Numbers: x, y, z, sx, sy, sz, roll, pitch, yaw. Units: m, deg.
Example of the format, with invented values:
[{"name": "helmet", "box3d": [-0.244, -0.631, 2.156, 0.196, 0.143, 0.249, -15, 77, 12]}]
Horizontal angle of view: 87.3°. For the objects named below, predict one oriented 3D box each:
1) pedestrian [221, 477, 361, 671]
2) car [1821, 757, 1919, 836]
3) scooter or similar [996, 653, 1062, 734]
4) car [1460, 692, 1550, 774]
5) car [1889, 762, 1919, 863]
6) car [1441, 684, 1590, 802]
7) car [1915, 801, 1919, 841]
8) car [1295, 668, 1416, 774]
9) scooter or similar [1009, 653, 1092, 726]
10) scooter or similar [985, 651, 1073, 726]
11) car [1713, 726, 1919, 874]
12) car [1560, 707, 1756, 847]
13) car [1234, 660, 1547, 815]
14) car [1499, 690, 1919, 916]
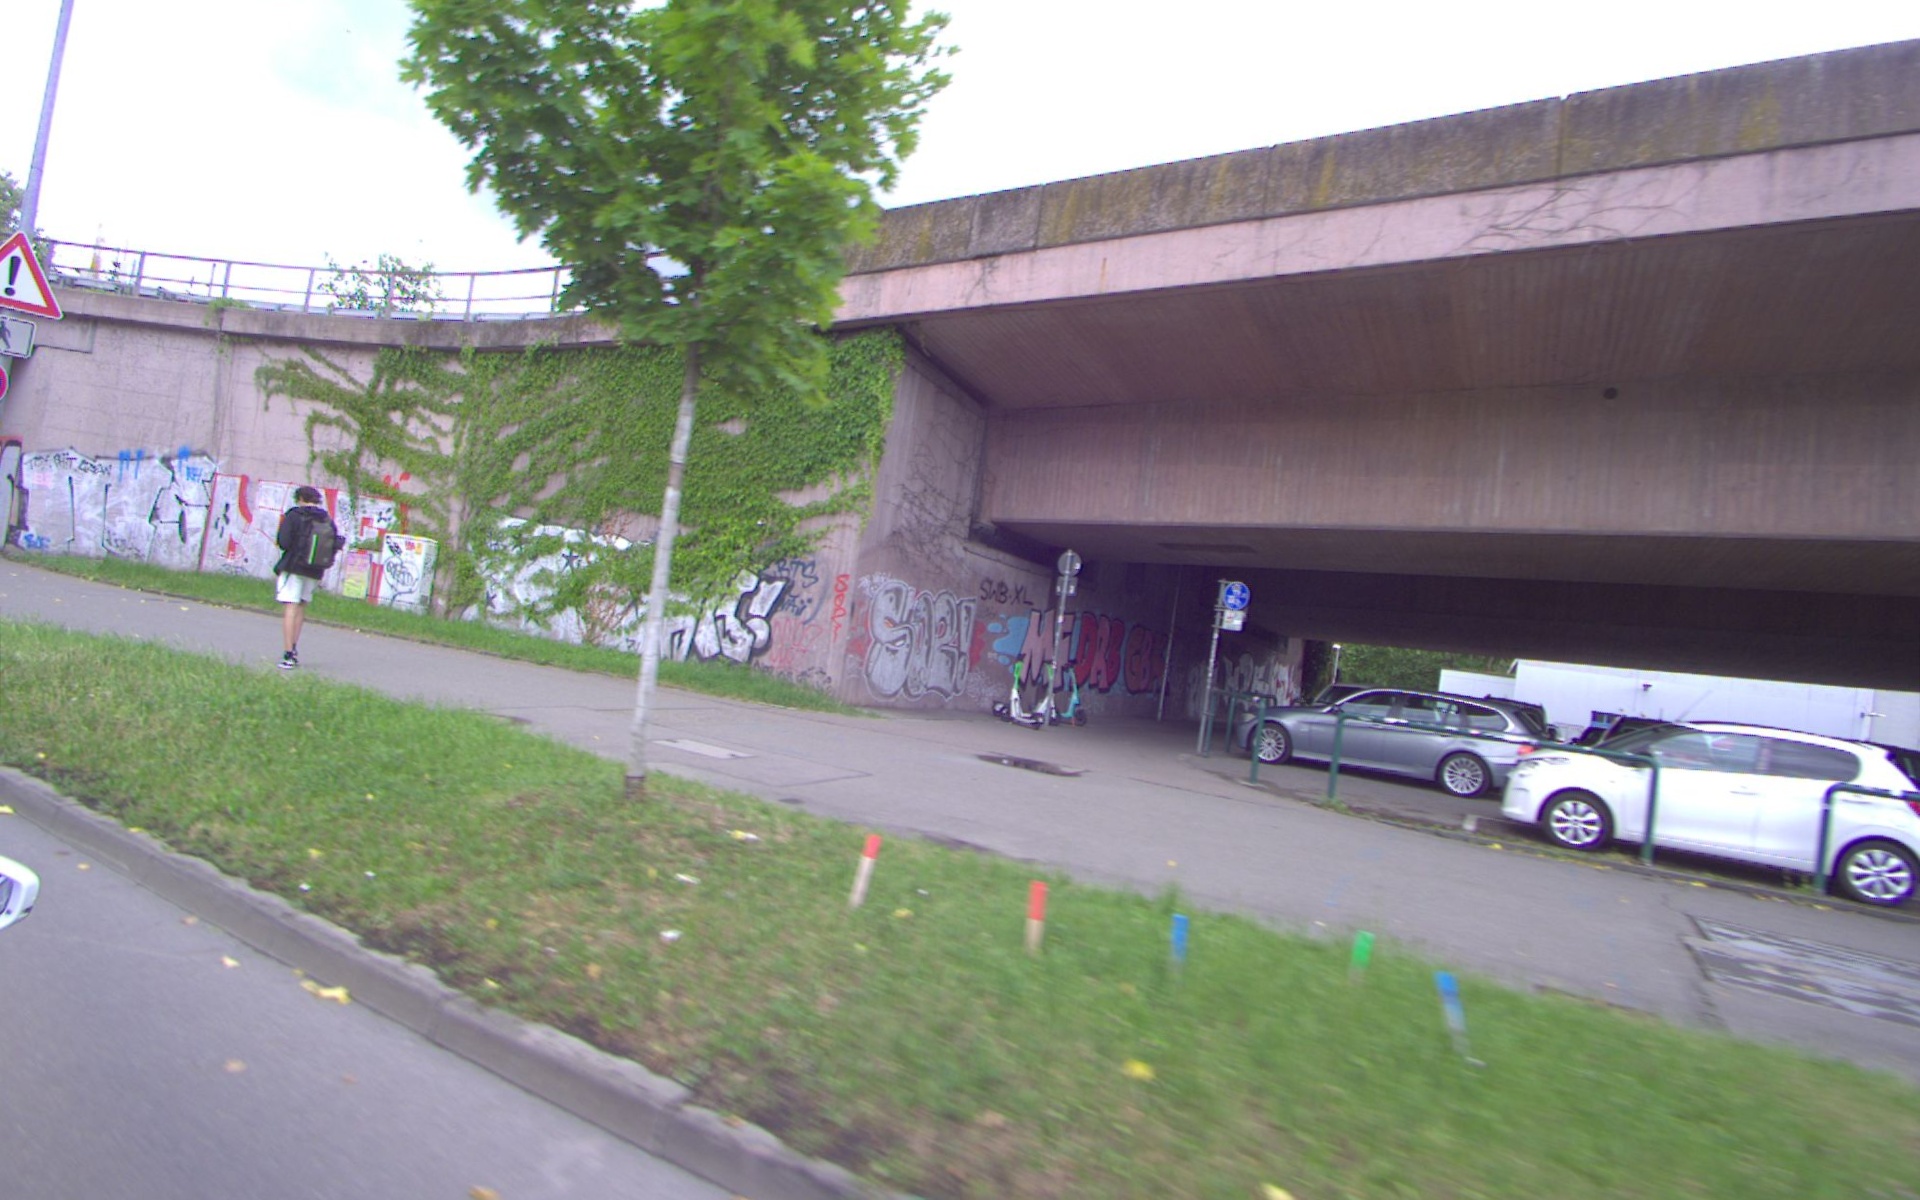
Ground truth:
[{"name": "pedestrian", "box3d": [-7.145, -0.267, 10.764, 0.811, 1.929, 0.737, 7, -1, 28]}, {"name": "car", "box3d": [25.108, 5.291, 26.955, 2.056, 1.695, 5.103, 8, -3, 31]}, {"name": "scooter or similar", "box3d": [1.104, 1.499, 16.487, 0.266, 1.142, 1.672, 8, -2, -21]}, {"name": "car", "box3d": [15.124, 3.667, 27.810, 1.852, 1.808, 3.661, 8, -3, 31]}, {"name": "car", "box3d": [14.704, 3.179, 13.713, 1.726, 1.454, 3.864, 8, -3, 25]}, {"name": "car", "box3d": [9.281, 2.364, 17.100, 1.726, 1.494, 3.864, 8, -3, 25]}, {"name": "car", "box3d": [22.083, 4.725, 21.363, 1.651, 1.443, 3.860, 8, -3, 31]}, {"name": "car", "box3d": [7.424, 2.220, 18.698, 1.726, 1.494, 3.864, 8, -3, 25]}, {"name": "scooter or similar", "box3d": [1.721, 1.705, 19.168, 1.412, 1.181, 0.270, 8, -1, 2]}, {"name": "scooter or similar", "box3d": [1.234, 1.585, 18.071, 1.412, 1.142, 0.270, 8, -1, 2]}, {"name": "car", "box3d": [12.830, 2.847, 14.885, 1.726, 1.656, 3.864, 8, -3, 25]}, {"name": "car", "box3d": [10.980, 2.708, 16.121, 1.726, 1.656, 3.864, 8, -3, 25]}, {"name": "car", "box3d": [6.442, 1.996, 15.200, 3.937, 1.516, 1.746, 7, -2, 36]}, {"name": "car", "box3d": [7.428, 1.924, 10.141, 3.320, 1.456, 1.578, 7, -3, 31]}]
